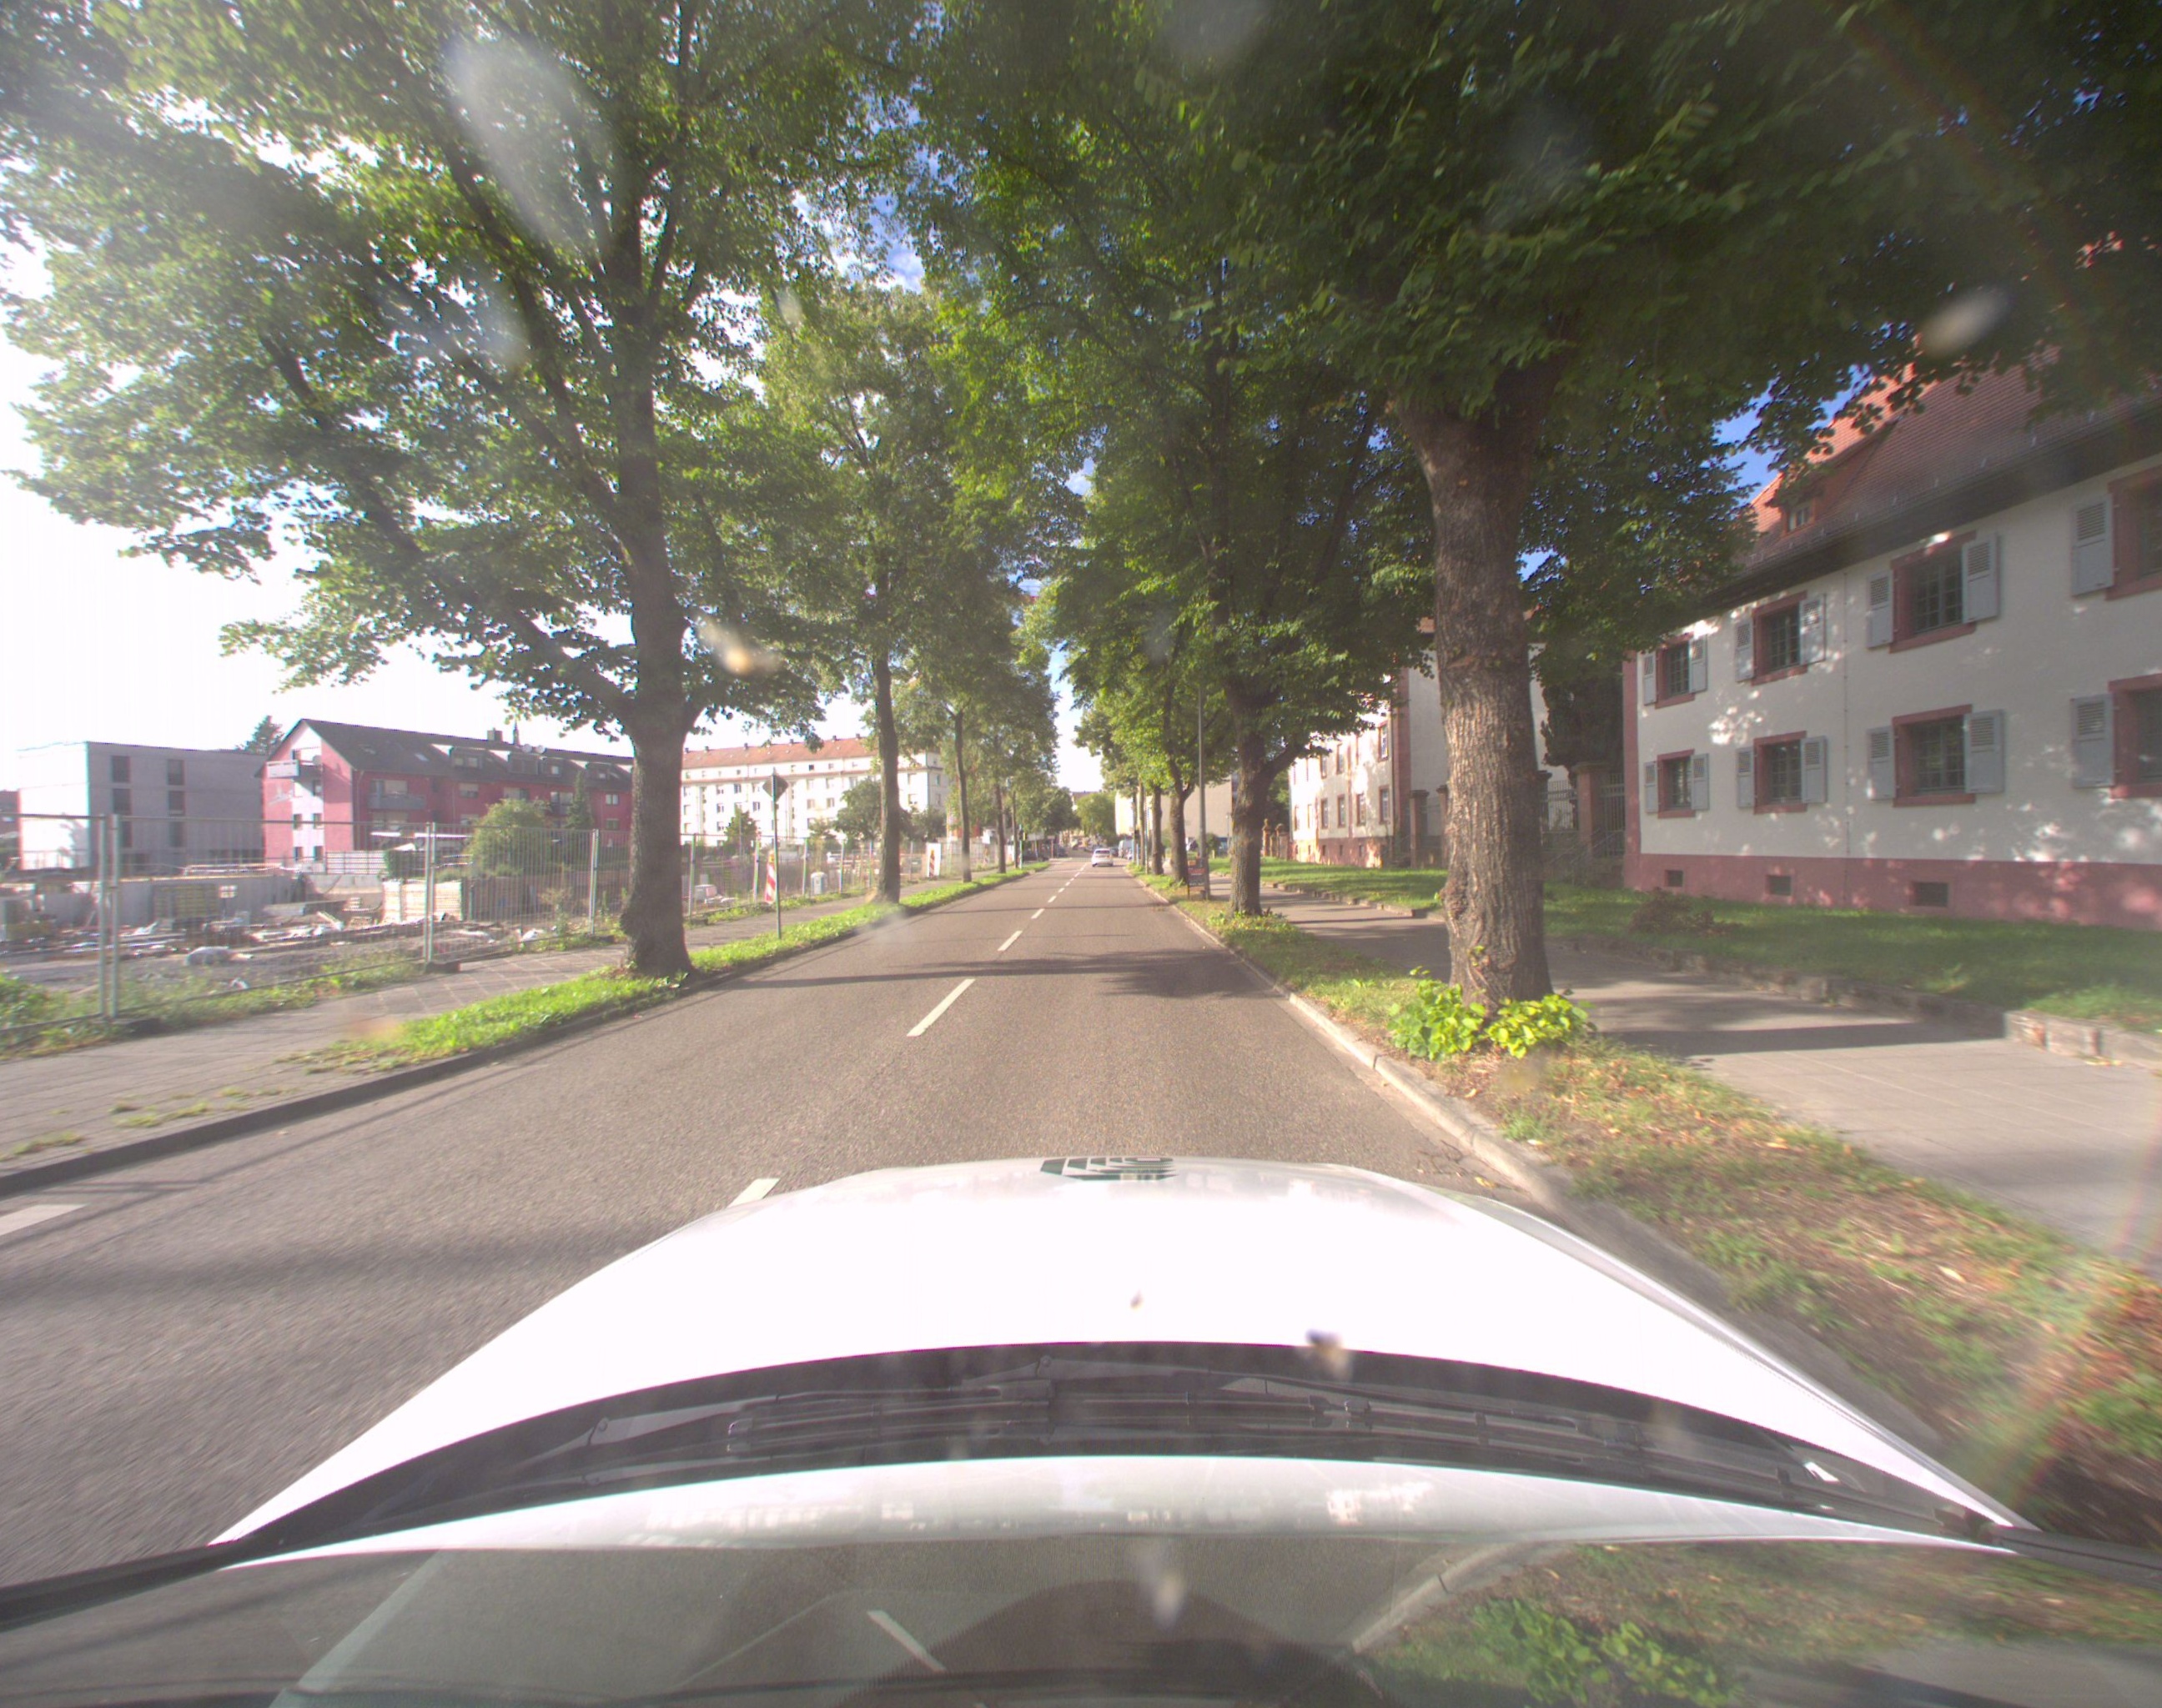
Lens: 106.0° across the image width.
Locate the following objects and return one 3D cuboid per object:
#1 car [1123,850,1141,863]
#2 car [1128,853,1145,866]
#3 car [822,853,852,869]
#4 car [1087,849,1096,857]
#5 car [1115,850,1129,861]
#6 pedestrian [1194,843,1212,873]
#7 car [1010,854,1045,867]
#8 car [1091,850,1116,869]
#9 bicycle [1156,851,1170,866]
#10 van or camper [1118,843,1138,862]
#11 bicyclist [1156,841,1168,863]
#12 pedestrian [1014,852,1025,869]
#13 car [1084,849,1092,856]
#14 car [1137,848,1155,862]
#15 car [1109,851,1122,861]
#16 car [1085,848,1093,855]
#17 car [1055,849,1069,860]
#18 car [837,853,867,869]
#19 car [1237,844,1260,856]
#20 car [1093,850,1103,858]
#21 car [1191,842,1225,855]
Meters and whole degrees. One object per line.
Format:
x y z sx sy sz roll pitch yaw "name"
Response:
6.854 0.286 109.600 1.988 1.615 4.405 -2 0 -2 "car"
6.947 0.697 102.387 2.008 1.475 4.805 -3 0 2 "car"
-33.506 0.970 111.895 1.978 2.013 4.017 -2 0 16 "car"
2.434 -0.173 190.826 1.986 1.755 4.001 0 0 2 "car"
6.358 0.198 126.573 1.987 1.574 4.000 -2 0 0 "car"
6.709 0.223 44.917 0.811 1.590 0.769 -4 0 0 "pedestrian"
-6.360 0.747 96.079 3.986 1.570 1.994 0 0 -9 "car"
1.949 0.470 71.667 1.988 1.555 4.271 0 0 -2 "car"
5.969 0.354 59.551 0.737 1.035 2.762 -4 0 1 "bicycle"
6.604 -0.252 115.575 2.204 2.607 5.366 -2 0 -3 "van or camper"
5.949 -0.136 59.739 0.734 1.513 0.874 -4 0 0 "bicyclist"
-6.159 0.652 81.810 1.007 1.728 1.174 -1 -1 -11 "pedestrian"
1.945 -0.393 223.886 1.986 1.755 4.001 0 0 2 "car"
7.248 0.108 91.183 1.710 1.496 4.271 -2 0 2 "car"
5.764 0.316 137.137 1.987 1.574 4.000 -2 0 0 "car"
2.038 -0.602 203.439 1.986 1.755 4.001 0 0 2 "car"
-3.032 0.066 132.095 1.990 1.640 3.993 -2 0 -5 "car"
-31.202 0.987 110.940 1.978 2.013 4.017 -2 0 16 "car"
21.530 -0.497 104.543 1.988 1.442 3.998 -2 0 -2 "car"
3.678 0.068 174.514 1.987 1.574 4.000 -2 0 0 "car"
17.193 -0.727 110.665 4.428 1.621 2.003 -2 0 4 "car"
